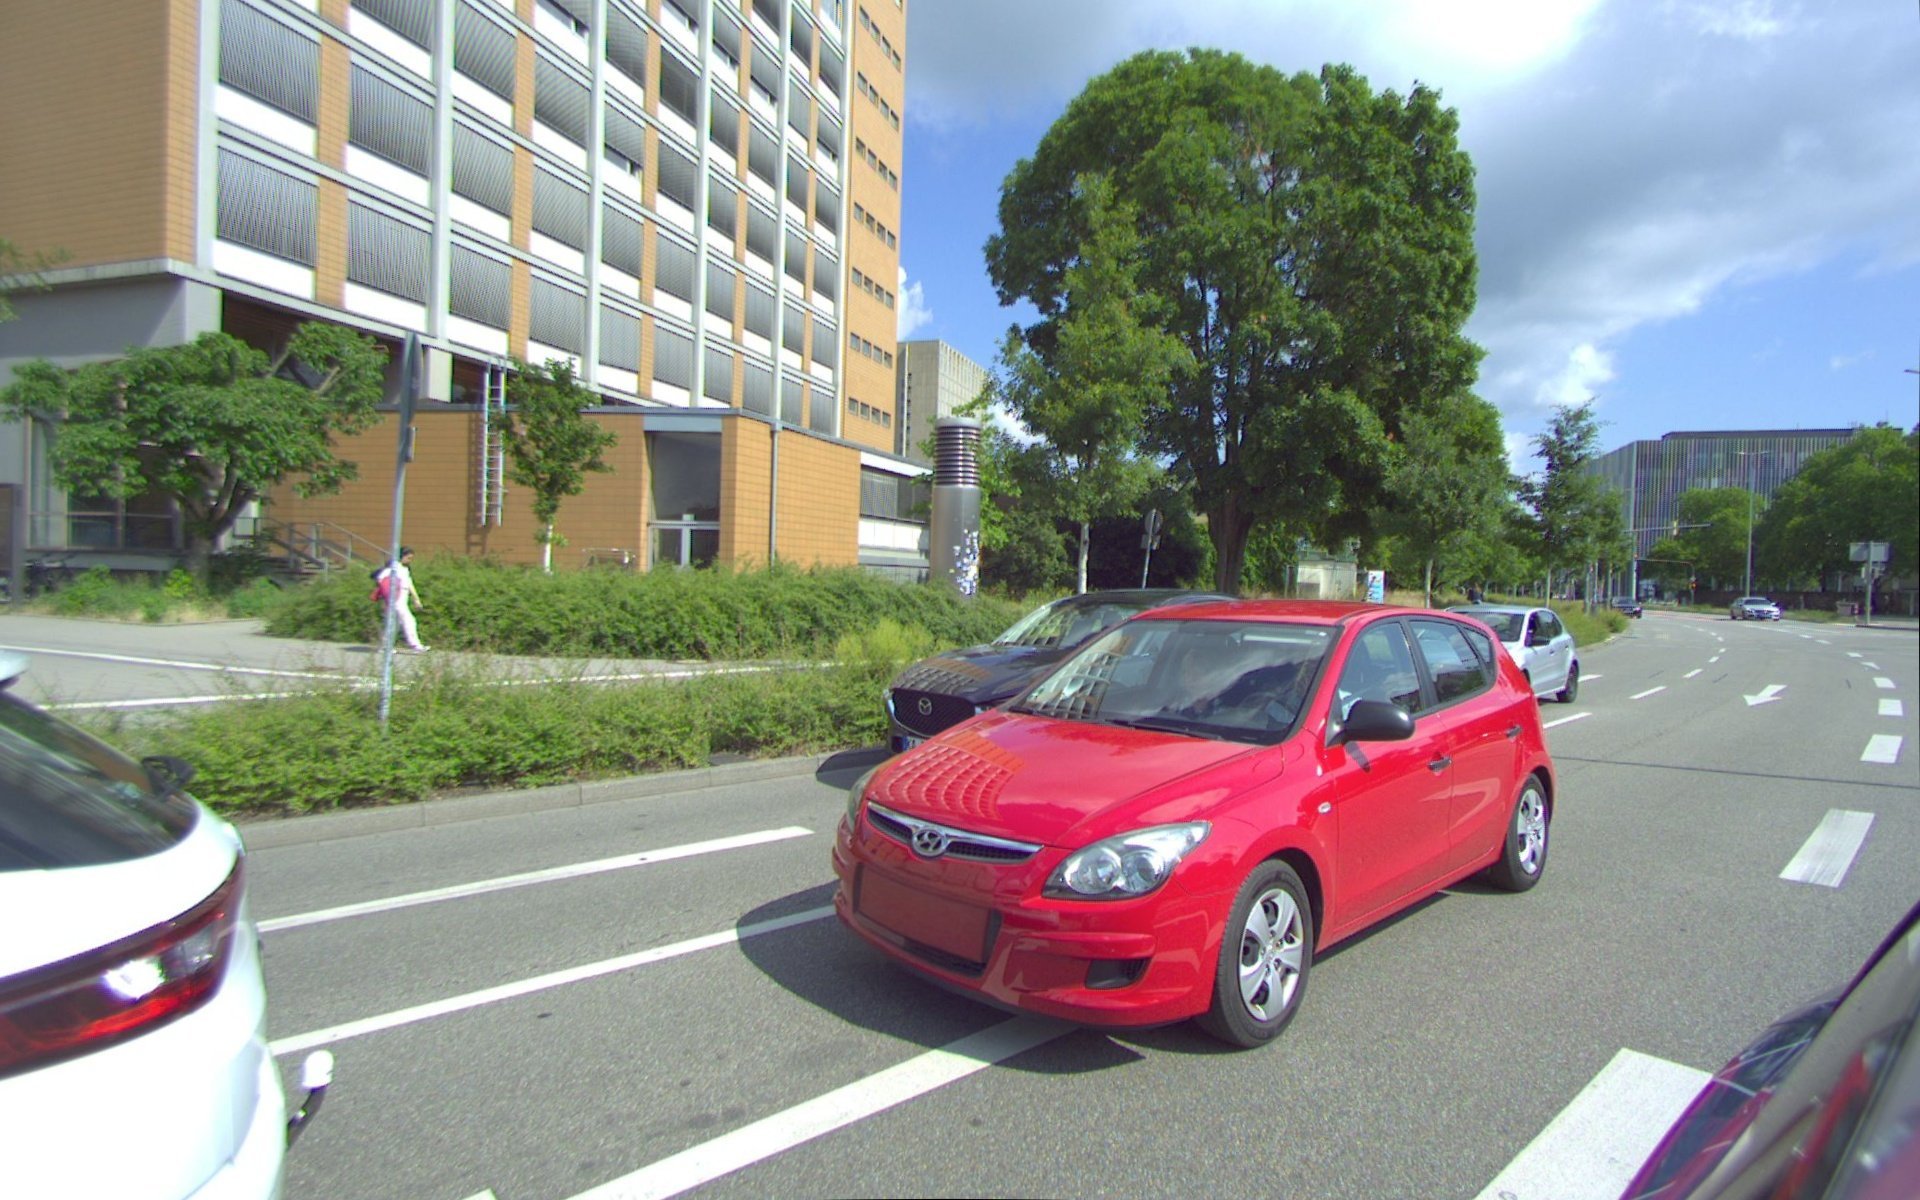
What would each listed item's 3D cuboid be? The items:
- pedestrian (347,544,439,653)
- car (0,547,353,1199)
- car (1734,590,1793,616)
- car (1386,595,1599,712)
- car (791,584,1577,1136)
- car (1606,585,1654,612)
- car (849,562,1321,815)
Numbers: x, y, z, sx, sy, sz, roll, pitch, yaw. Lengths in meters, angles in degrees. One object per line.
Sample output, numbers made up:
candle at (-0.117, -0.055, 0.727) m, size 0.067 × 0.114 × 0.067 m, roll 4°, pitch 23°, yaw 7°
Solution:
pedestrian at (-8.576, -0.032, 15.336) m, size 0.940 × 1.598 × 0.769 m, roll 1°, pitch 1°, yaw 3°
car at (-3.159, 0.683, 0.577) m, size 4.595 × 1.447 × 1.760 m, roll -1°, pitch 1°, yaw -42°
car at (51.011, 0.147, 64.327) m, size 1.811 × 1.544 × 3.970 m, roll 2°, pitch 2°, yaw 22°
car at (7.719, 0.654, 14.501) m, size 1.584 × 1.402 × 4.013 m, roll 0°, pitch 1°, yaw 45°
car at (1.346, 0.677, 4.722) m, size 3.997 × 1.486 × 1.643 m, roll -1°, pitch 1°, yaw -44°
car at (44.814, -0.135, 67.761) m, size 1.978 × 1.777 × 3.968 m, roll 0°, pitch 1°, yaw 24°
car at (1.231, 0.527, 8.419) m, size 4.141 × 1.596 × 1.643 m, roll -1°, pitch 1°, yaw -43°
